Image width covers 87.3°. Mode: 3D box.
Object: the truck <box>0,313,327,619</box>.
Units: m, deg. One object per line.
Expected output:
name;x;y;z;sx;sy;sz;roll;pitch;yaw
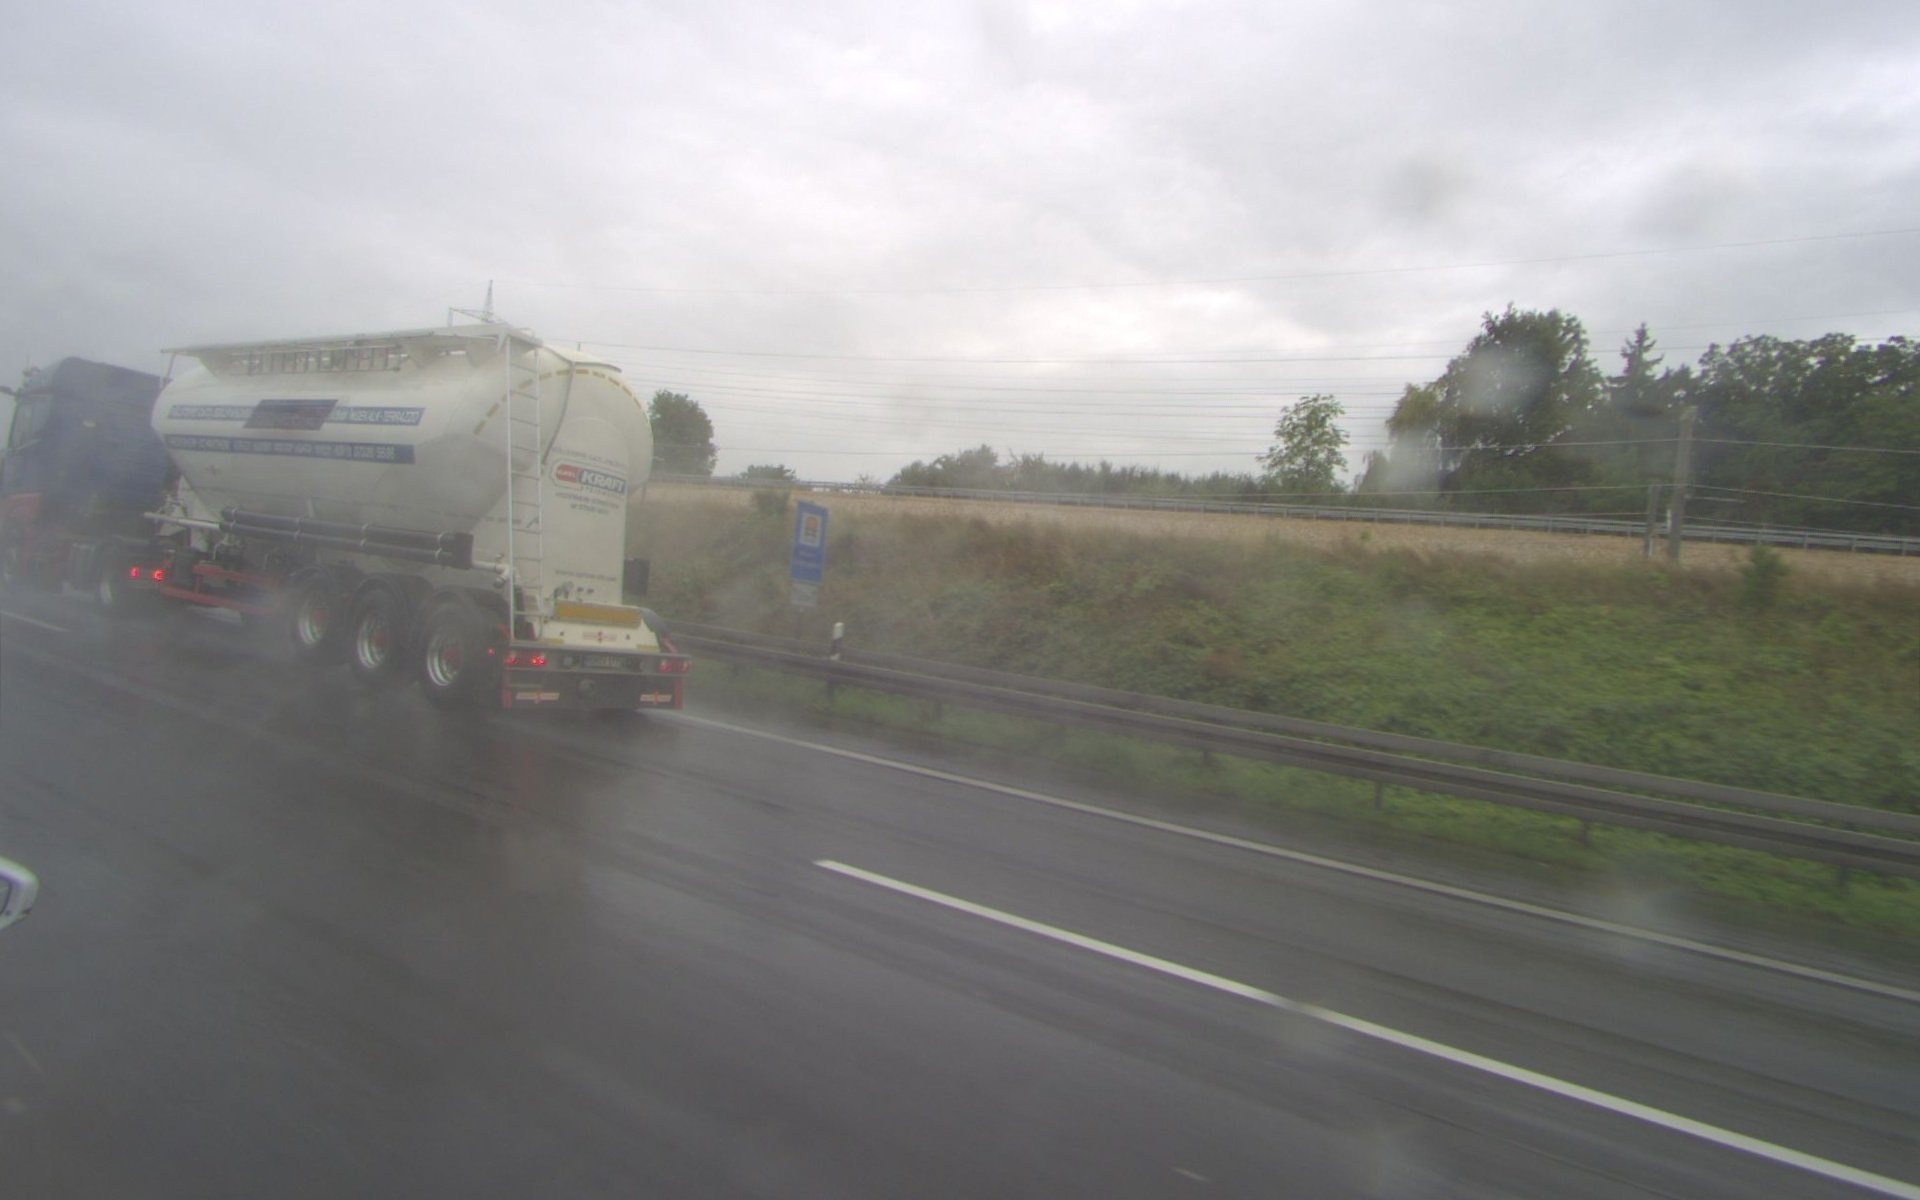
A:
truck;-13.048;-2.095;16.157;4.990;4.031;2.501;7;-1;31

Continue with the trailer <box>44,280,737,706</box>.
trailer;-8.021;-1.464;13.123;10.880;3.928;2.502;7;-1;31
